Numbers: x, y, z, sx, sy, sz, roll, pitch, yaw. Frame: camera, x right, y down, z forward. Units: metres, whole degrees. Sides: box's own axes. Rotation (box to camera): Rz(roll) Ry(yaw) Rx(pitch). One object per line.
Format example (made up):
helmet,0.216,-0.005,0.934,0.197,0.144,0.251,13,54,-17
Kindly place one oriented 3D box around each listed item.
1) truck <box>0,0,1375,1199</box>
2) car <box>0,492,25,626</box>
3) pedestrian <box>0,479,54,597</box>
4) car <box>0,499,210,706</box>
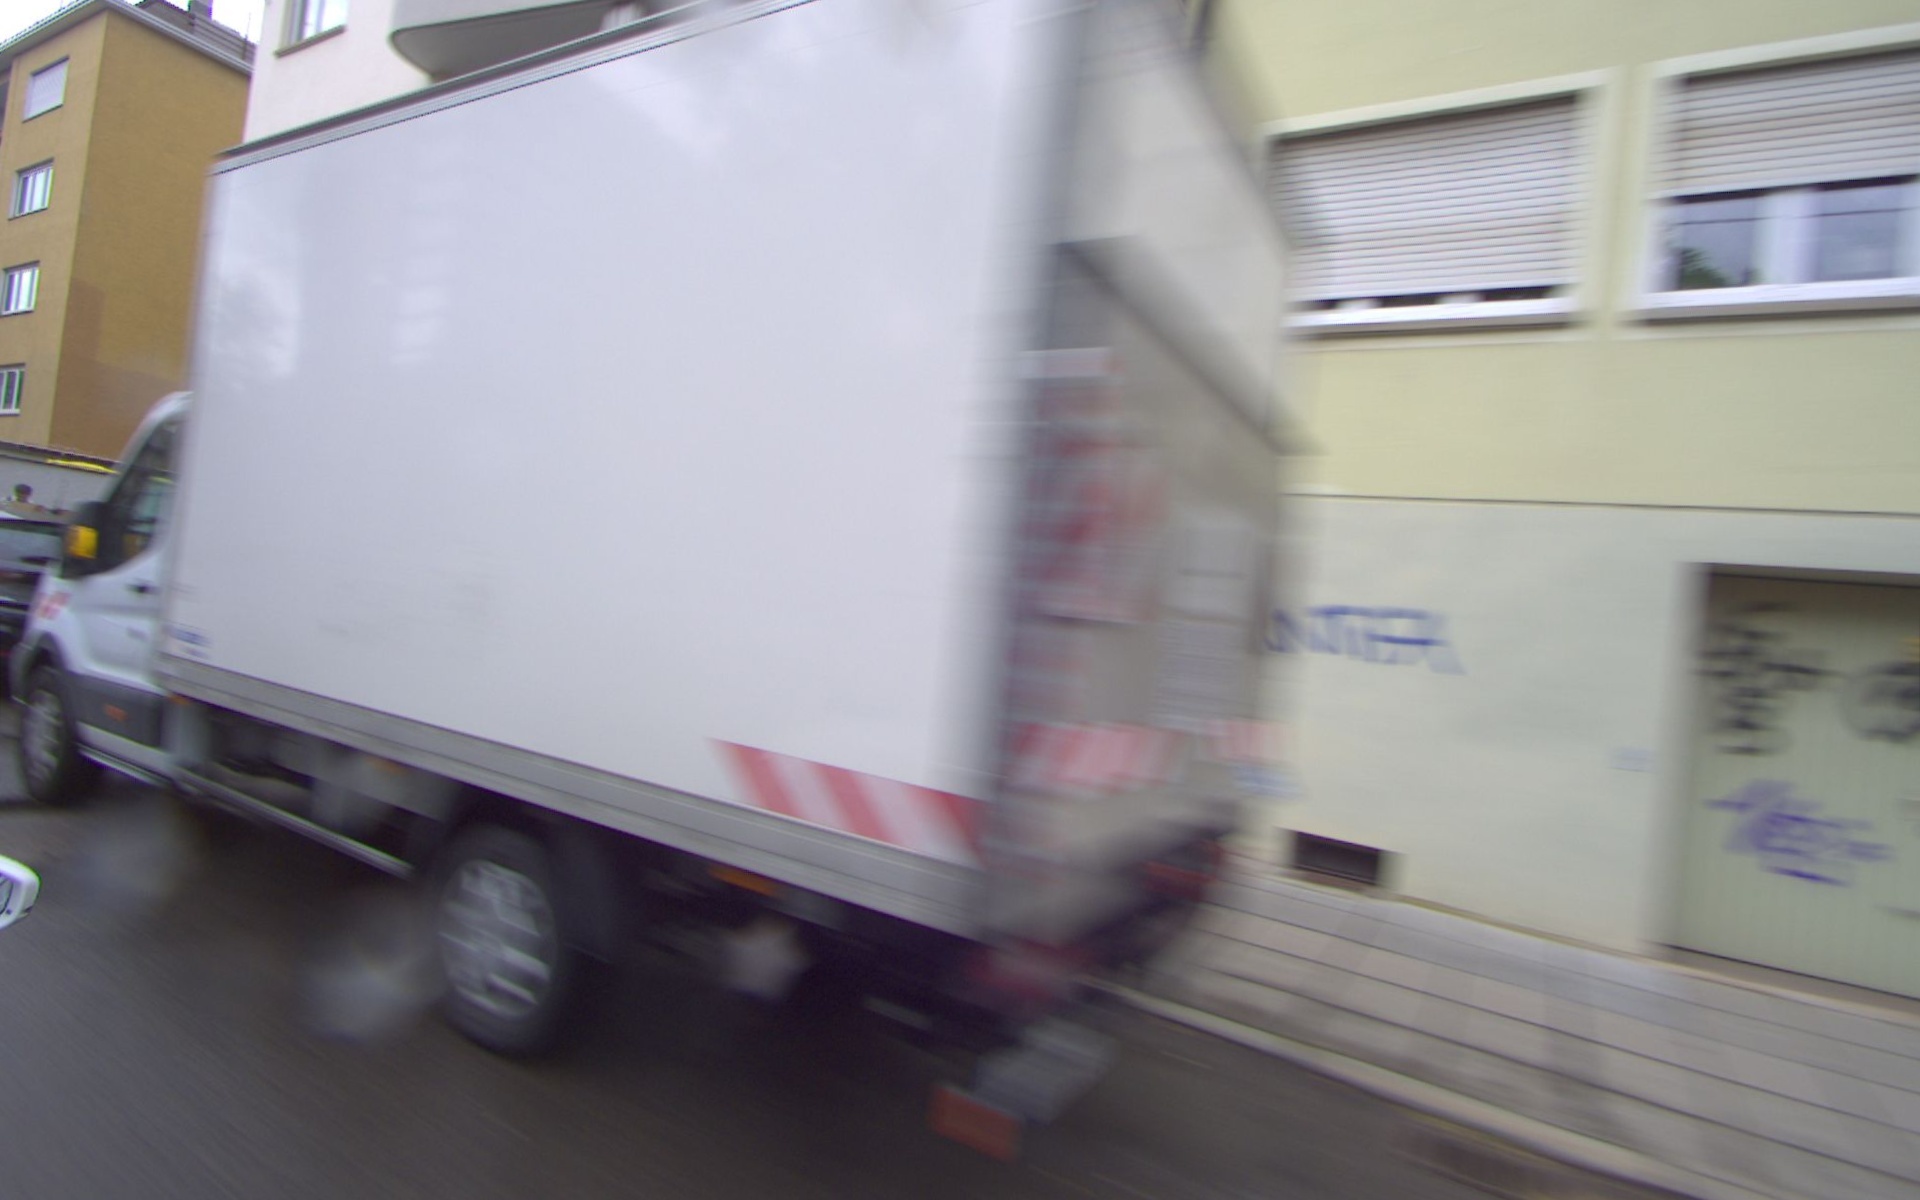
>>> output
truck,-2.139,-0.267,4.662,6.918,3.208,2.475,7,-2,31
car,-12.389,-0.689,11.153,3.853,1.437,1.668,6,-2,28
pedestrian,-13.711,-0.907,14.569,0.732,1.625,0.664,8,3,35
car,-8.362,-0.151,8.554,3.974,1.437,1.667,7,-2,31
